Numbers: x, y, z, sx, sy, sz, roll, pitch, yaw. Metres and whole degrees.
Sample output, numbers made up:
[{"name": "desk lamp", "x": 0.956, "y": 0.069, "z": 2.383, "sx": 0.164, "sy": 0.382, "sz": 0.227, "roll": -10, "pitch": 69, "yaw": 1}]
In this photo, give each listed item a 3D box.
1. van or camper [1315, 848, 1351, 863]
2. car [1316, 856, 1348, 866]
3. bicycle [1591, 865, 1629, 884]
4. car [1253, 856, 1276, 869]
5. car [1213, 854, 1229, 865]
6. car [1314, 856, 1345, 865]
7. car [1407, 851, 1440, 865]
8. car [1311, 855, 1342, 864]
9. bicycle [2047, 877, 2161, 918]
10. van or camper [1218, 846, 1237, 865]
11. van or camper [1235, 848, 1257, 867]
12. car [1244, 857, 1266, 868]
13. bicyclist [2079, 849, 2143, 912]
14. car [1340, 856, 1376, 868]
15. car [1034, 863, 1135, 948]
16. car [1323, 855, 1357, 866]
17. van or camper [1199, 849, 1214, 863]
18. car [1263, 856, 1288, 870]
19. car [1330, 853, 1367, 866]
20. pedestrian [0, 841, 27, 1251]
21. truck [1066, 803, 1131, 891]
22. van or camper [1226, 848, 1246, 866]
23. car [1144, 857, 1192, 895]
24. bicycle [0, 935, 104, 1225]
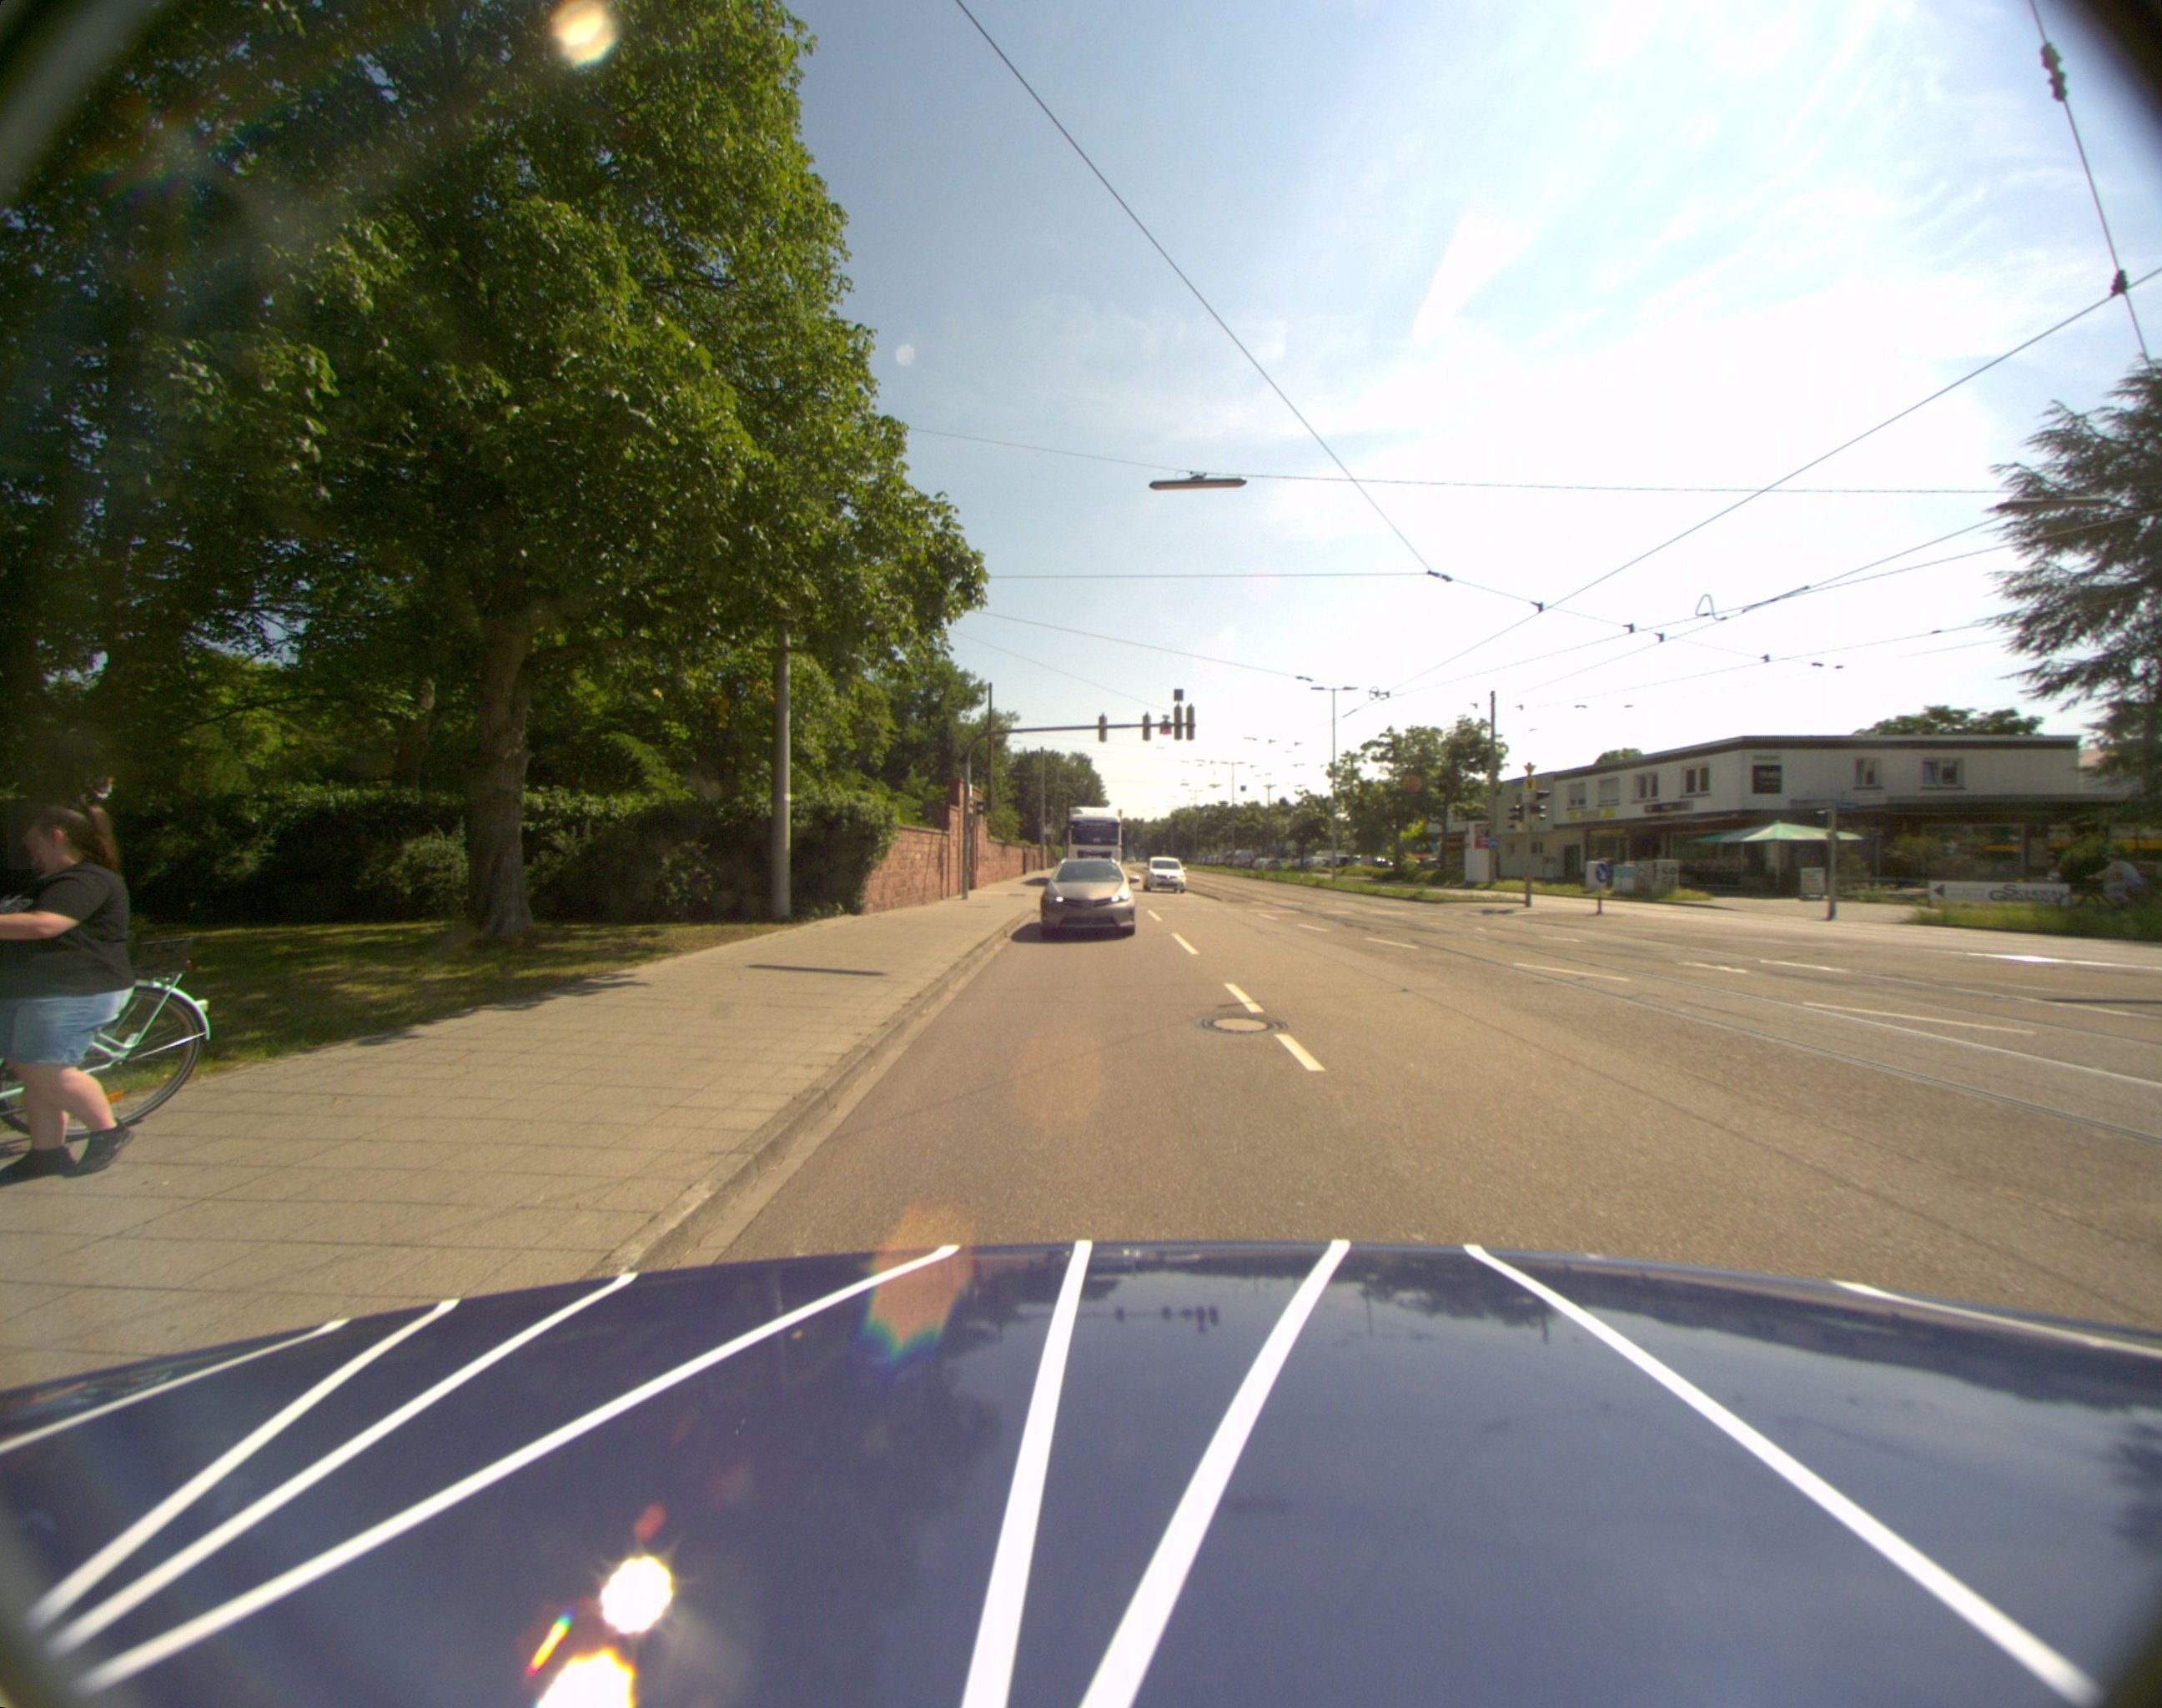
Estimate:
[{"name": "van or camper", "x": 47.901, "y": 0.241, "z": 144.388, "sx": 6.080, "sy": 2.714, "sz": 2.300, "roll": 0, "pitch": 0, "yaw": 4}, {"name": "car", "x": 33.030, "y": 0.887, "z": 100.057, "sx": 3.624, "sy": 1.274, "sz": 1.813, "roll": 0, "pitch": 0, "yaw": 0}, {"name": "bicycle", "x": 28.865, "y": 1.099, "z": 41.484, "sx": 0.760, "sy": 0.977, "sz": 1.911, "roll": 0, "pitch": 0, "yaw": 2}, {"name": "car", "x": 22.377, "y": 1.041, "z": 92.814, "sx": 1.892, "sy": 1.551, "sz": 4.285, "roll": 0, "pitch": 0, "yaw": 1}, {"name": "car", "x": 23.398, "y": 0.865, "z": 127.018, "sx": 1.892, "sy": 1.724, "sz": 4.232, "roll": 0, "pitch": 0, "yaw": 1}, {"name": "car", "x": 33.610, "y": 0.886, "z": 102.830, "sx": 3.624, "sy": 1.274, "sz": 1.712, "roll": 0, "pitch": 0, "yaw": 0}, {"name": "car", "x": 45.724, "y": 0.561, "z": 101.552, "sx": 3.624, "sy": 1.767, "sz": 1.712, "roll": 0, "pitch": 0, "yaw": 0}, {"name": "car", "x": 33.984, "y": 0.785, "z": 105.209, "sx": 3.624, "sy": 1.274, "sz": 1.712, "roll": 0, "pitch": 0, "yaw": 0}, {"name": "bicycle", "x": 26.117, "y": 1.072, "z": 19.138, "sx": 0.536, "sy": 0.941, "sz": 2.132, "roll": 0, "pitch": 0, "yaw": -22}, {"name": "van or camper", "x": 22.787, "y": 0.200, "z": 118.416, "sx": 2.128, "sy": 2.967, "sz": 5.282, "roll": 0, "pitch": 0, "yaw": 1}, {"name": "van or camper", "x": 22.461, "y": 0.454, "z": 103.470, "sx": 2.039, "sy": 2.617, "sz": 4.840, "roll": 0, "pitch": 0, "yaw": 1}, {"name": "car", "x": 22.526, "y": 1.081, "z": 98.523, "sx": 1.892, "sy": 1.486, "sz": 4.232, "roll": 0, "pitch": 0, "yaw": 1}, {"name": "bicyclist", "x": 26.120, "y": 0.672, "z": 19.278, "sx": 0.632, "sy": 1.549, "sz": 0.764, "roll": 1, "pitch": 1, "yaw": -20}, {"name": "car", "x": 32.620, "y": 0.898, "z": 89.679, "sx": 3.624, "sy": 1.353, "sz": 1.712, "roll": 0, "pitch": 0, "yaw": 0}, {"name": "car", "x": 0.132, "y": 0.917, "z": 15.406, "sx": 1.742, "sy": 1.424, "sz": 4.463, "roll": 0, "pitch": 0, "yaw": 2}, {"name": "car", "x": 32.233, "y": 0.766, "z": 94.479, "sx": 3.624, "sy": 1.277, "sz": 1.712, "roll": 0, "pitch": 0, "yaw": 0}, {"name": "van or camper", "x": 24.218, "y": 0.379, "z": 146.539, "sx": 2.113, "sy": 2.604, "sz": 5.452, "roll": 2, "pitch": 0, "yaw": 2}, {"name": "car", "x": 22.291, "y": 1.047, "z": 87.309, "sx": 1.892, "sy": 1.486, "sz": 4.286, "roll": -2, "pitch": 0, "yaw": 3}, {"name": "car", "x": 32.429, "y": 0.698, "z": 92.151, "sx": 3.749, "sy": 1.560, "sz": 1.951, "roll": 0, "pitch": 0, "yaw": 0}, {"name": "pedestrian", "x": -4.302, "y": 0.710, "z": 2.558, "sx": 0.542, "sy": 1.540, "sz": 0.663, "roll": 3, "pitch": 0, "yaw": 1}, {"name": "truck", "x": 0.925, "y": -0.297, "z": 38.622, "sx": 2.746, "sy": 3.852, "sz": 9.112, "roll": 2, "pitch": 0, "yaw": 2}, {"name": "van or camper", "x": 22.546, "y": 0.415, "z": 110.527, "sx": 2.039, "sy": 2.617, "sz": 4.840, "roll": 0, "pitch": 0, "yaw": 1}, {"name": "car", "x": 3.826, "y": 0.924, "z": 34.081, "sx": 1.770, "sy": 1.552, "sz": 4.067, "roll": 2, "pitch": 0, "yaw": 2}, {"name": "bicycle", "x": -4.673, "y": 0.922, "z": 2.452, "sx": 0.536, "sy": 1.105, "sz": 1.808, "roll": 1, "pitch": 1, "yaw": 11}]
